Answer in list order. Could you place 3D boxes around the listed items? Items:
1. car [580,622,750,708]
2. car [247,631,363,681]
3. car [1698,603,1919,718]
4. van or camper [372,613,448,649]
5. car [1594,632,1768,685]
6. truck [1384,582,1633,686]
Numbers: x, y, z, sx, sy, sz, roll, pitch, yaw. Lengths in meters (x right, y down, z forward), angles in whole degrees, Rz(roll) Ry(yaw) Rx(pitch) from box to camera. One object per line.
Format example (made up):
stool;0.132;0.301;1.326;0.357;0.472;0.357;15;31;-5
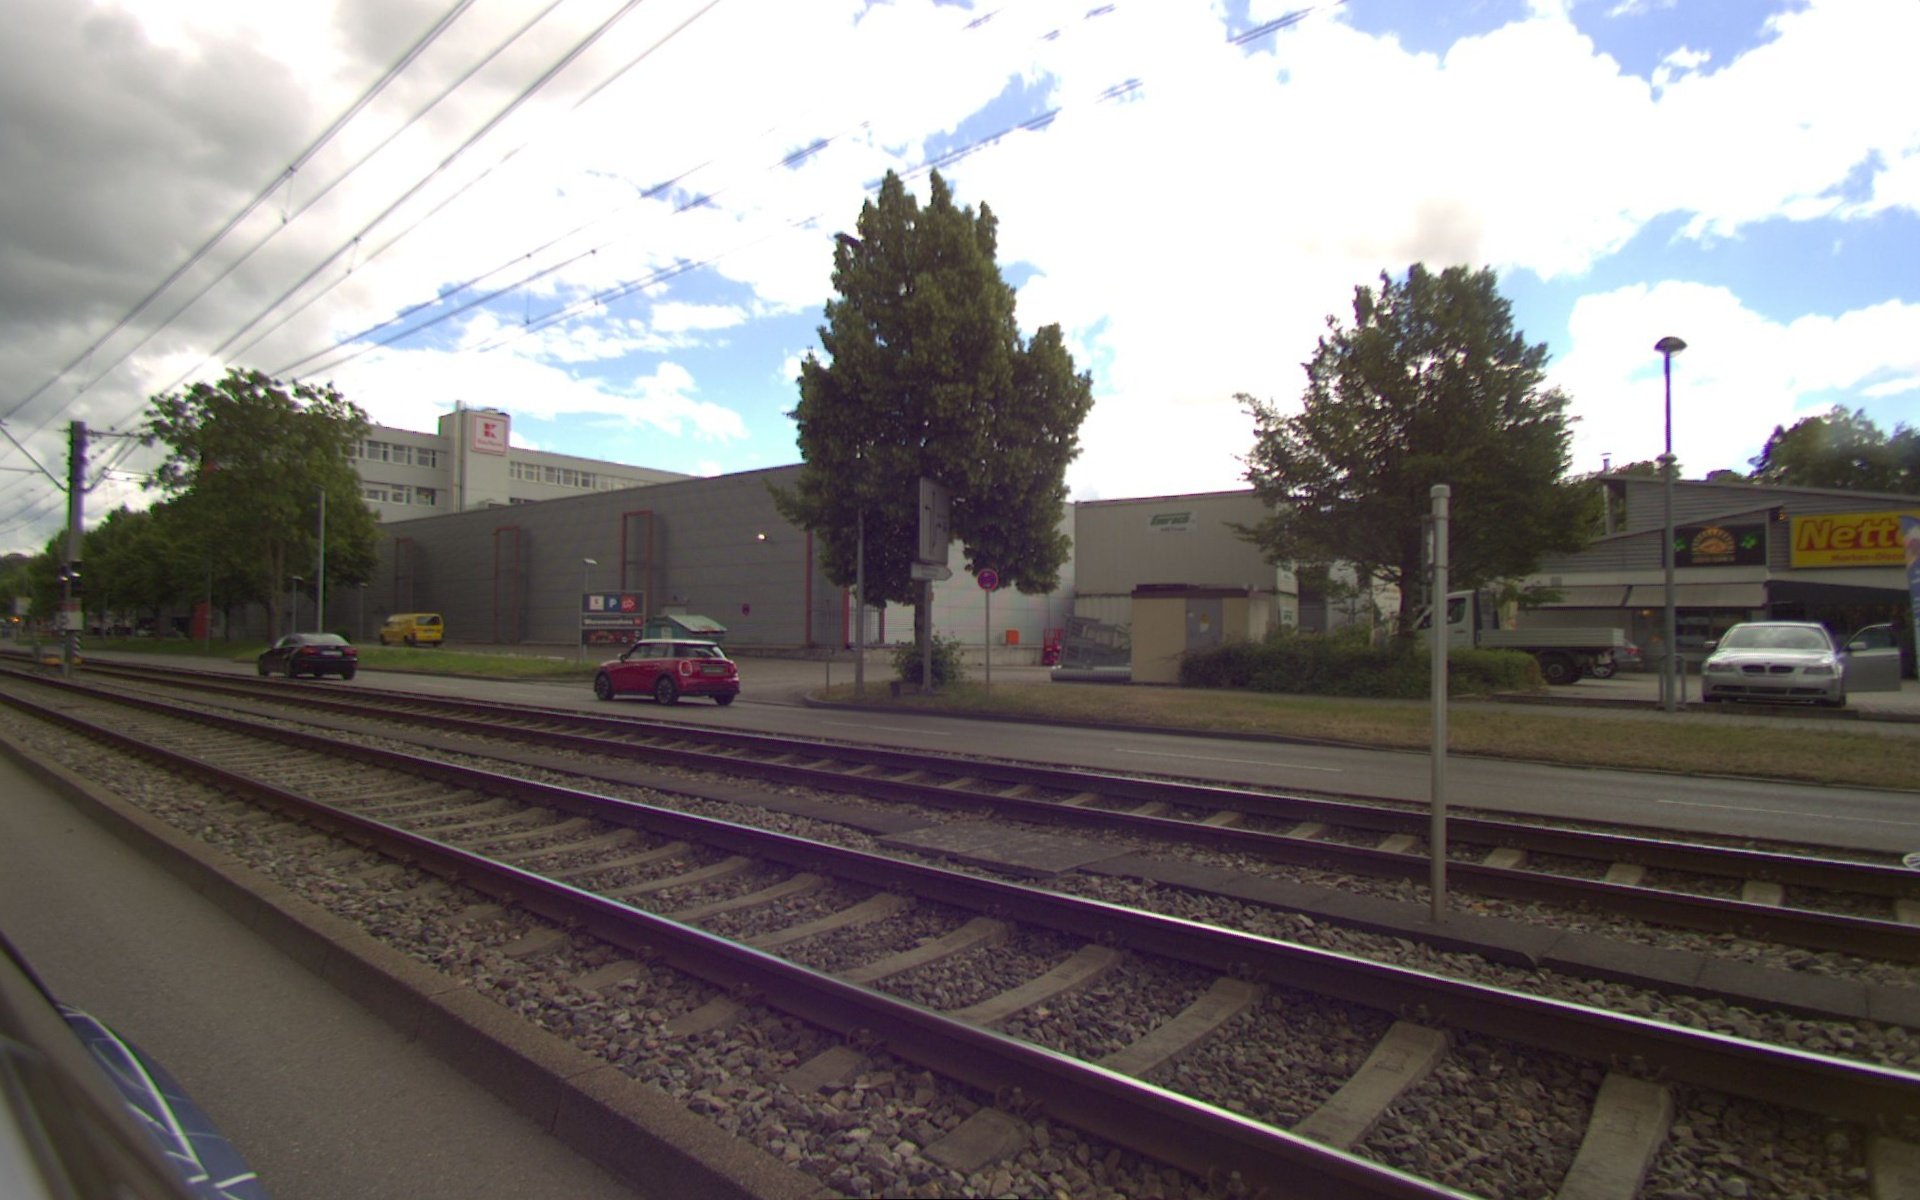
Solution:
car;-6.744;1.423;22.978;3.996;1.785;1.774;-2;-3;40
car;-20.222;1.711;31.167;4.440;1.412;1.741;-2;-5;40
car;14.353;0.975;17.004;2.651;1.641;4.730;-3;-3;42
van or camper;-32.671;1.863;60.063;5.235;2.029;2.083;-2;-2;38
car;20.741;1.646;29.267;3.991;1.411;1.596;-1;-1;36
truck;13.876;0.879;25.826;5.261;2.401;1.972;-2;-3;41
